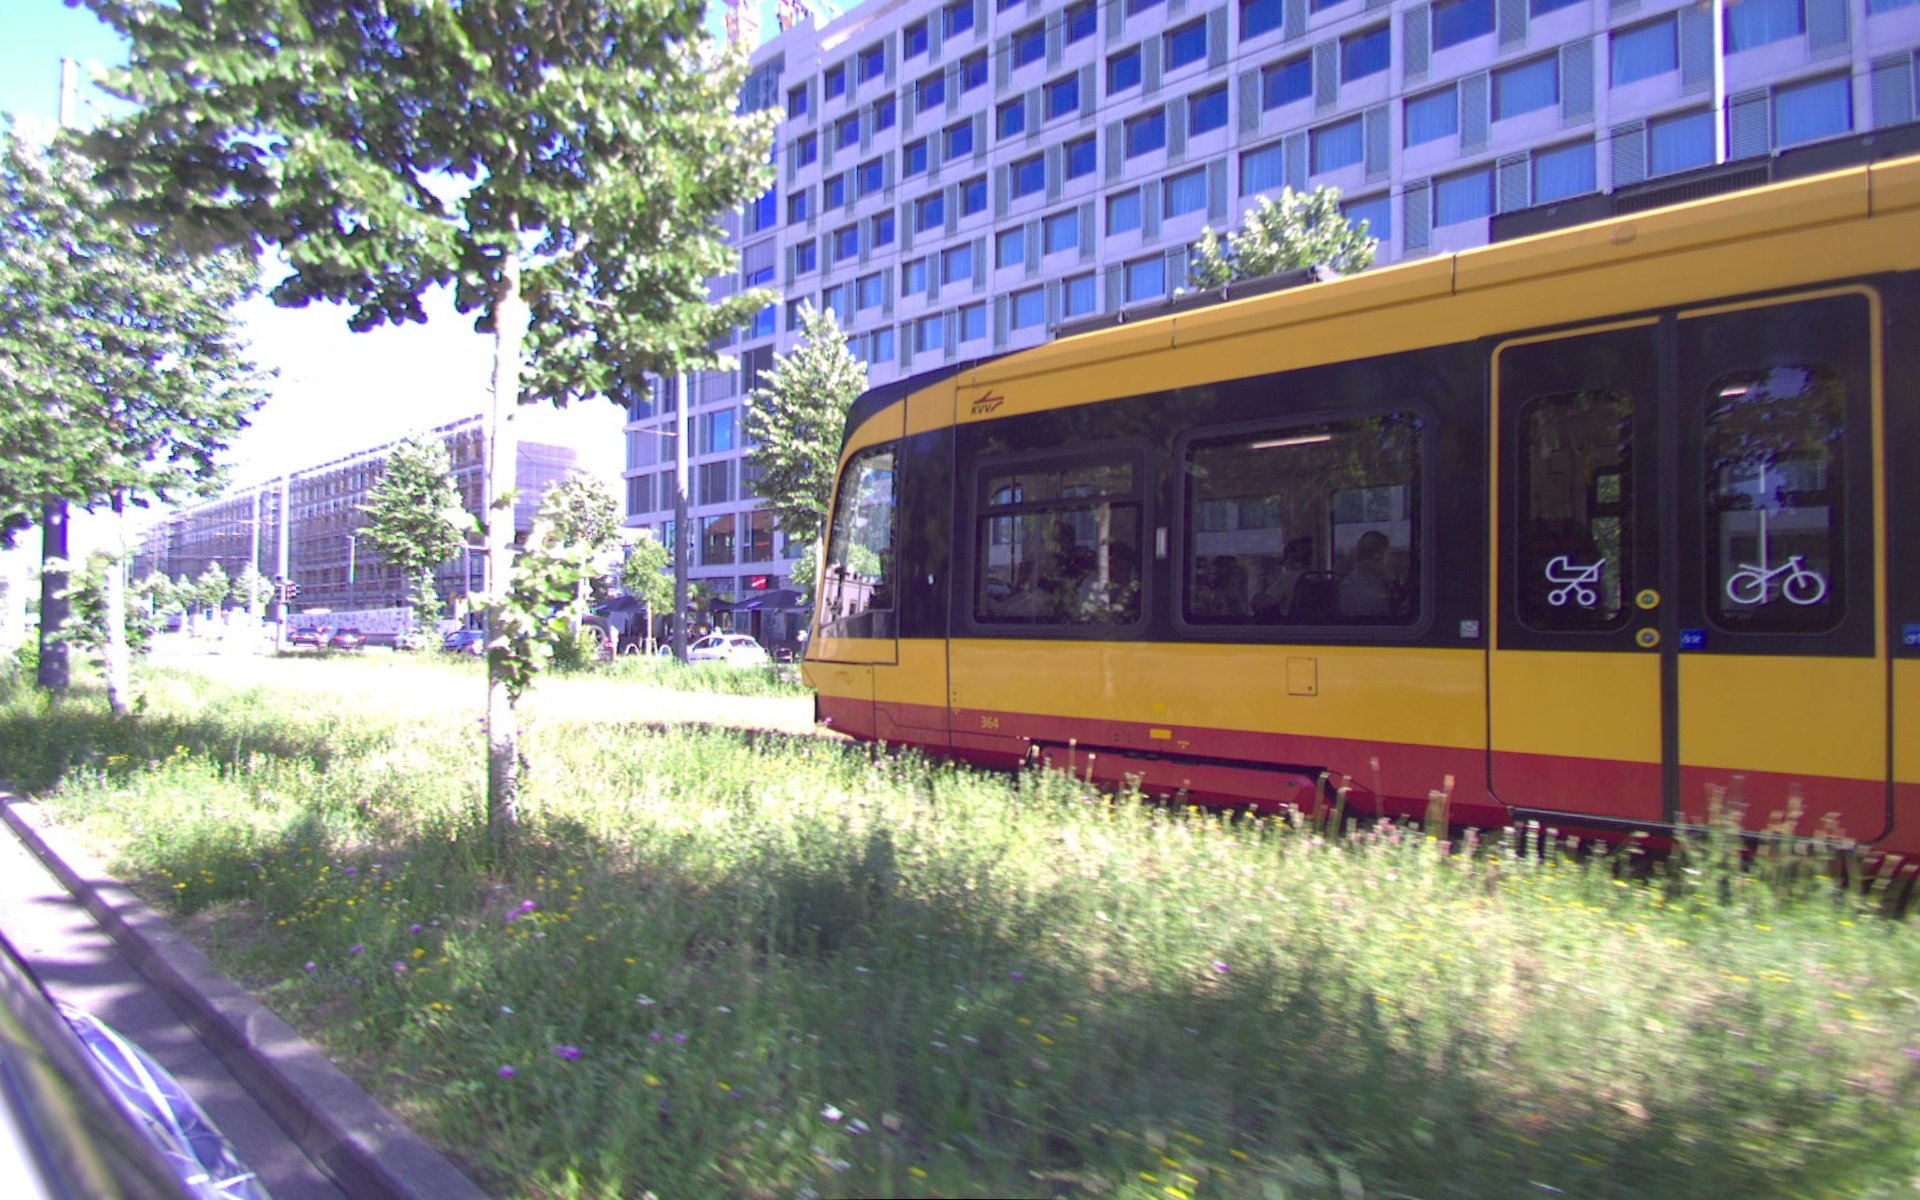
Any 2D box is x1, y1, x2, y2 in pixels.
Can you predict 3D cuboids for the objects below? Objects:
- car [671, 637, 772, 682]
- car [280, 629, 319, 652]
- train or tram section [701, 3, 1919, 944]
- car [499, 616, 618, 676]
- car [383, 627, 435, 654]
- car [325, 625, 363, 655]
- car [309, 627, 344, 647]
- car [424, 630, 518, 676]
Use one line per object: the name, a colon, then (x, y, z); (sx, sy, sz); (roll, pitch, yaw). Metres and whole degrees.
car: (-8.876, 2.159, 37.550); (3.811, 1.519, 1.804); (-1, -1, 41)
car: (-48.568, 2.952, 74.388); (1.861, 1.586, 4.005); (0, -1, -41)
train or tram section: (3.695, -0.484, 5.325); (14.140, 3.697, 1.973); (-1, -1, 40)
car: (-13.278, 1.474, 33.372); (4.284, 1.833, 1.972); (-1, -1, 42)
car: (-33.239, 2.416, 61.028); (4.002, 1.558, 1.718); (-1, -1, 45)
car: (-37.298, 2.386, 61.233); (1.749, 1.686, 3.899); (0, -1, -35)
car: (-51.874, 3.005, 82.827); (1.861, 1.586, 4.005); (0, -1, -41)
car: (-18.210, 1.913, 37.615); (3.998, 1.564, 1.707); (-1, -1, 41)
